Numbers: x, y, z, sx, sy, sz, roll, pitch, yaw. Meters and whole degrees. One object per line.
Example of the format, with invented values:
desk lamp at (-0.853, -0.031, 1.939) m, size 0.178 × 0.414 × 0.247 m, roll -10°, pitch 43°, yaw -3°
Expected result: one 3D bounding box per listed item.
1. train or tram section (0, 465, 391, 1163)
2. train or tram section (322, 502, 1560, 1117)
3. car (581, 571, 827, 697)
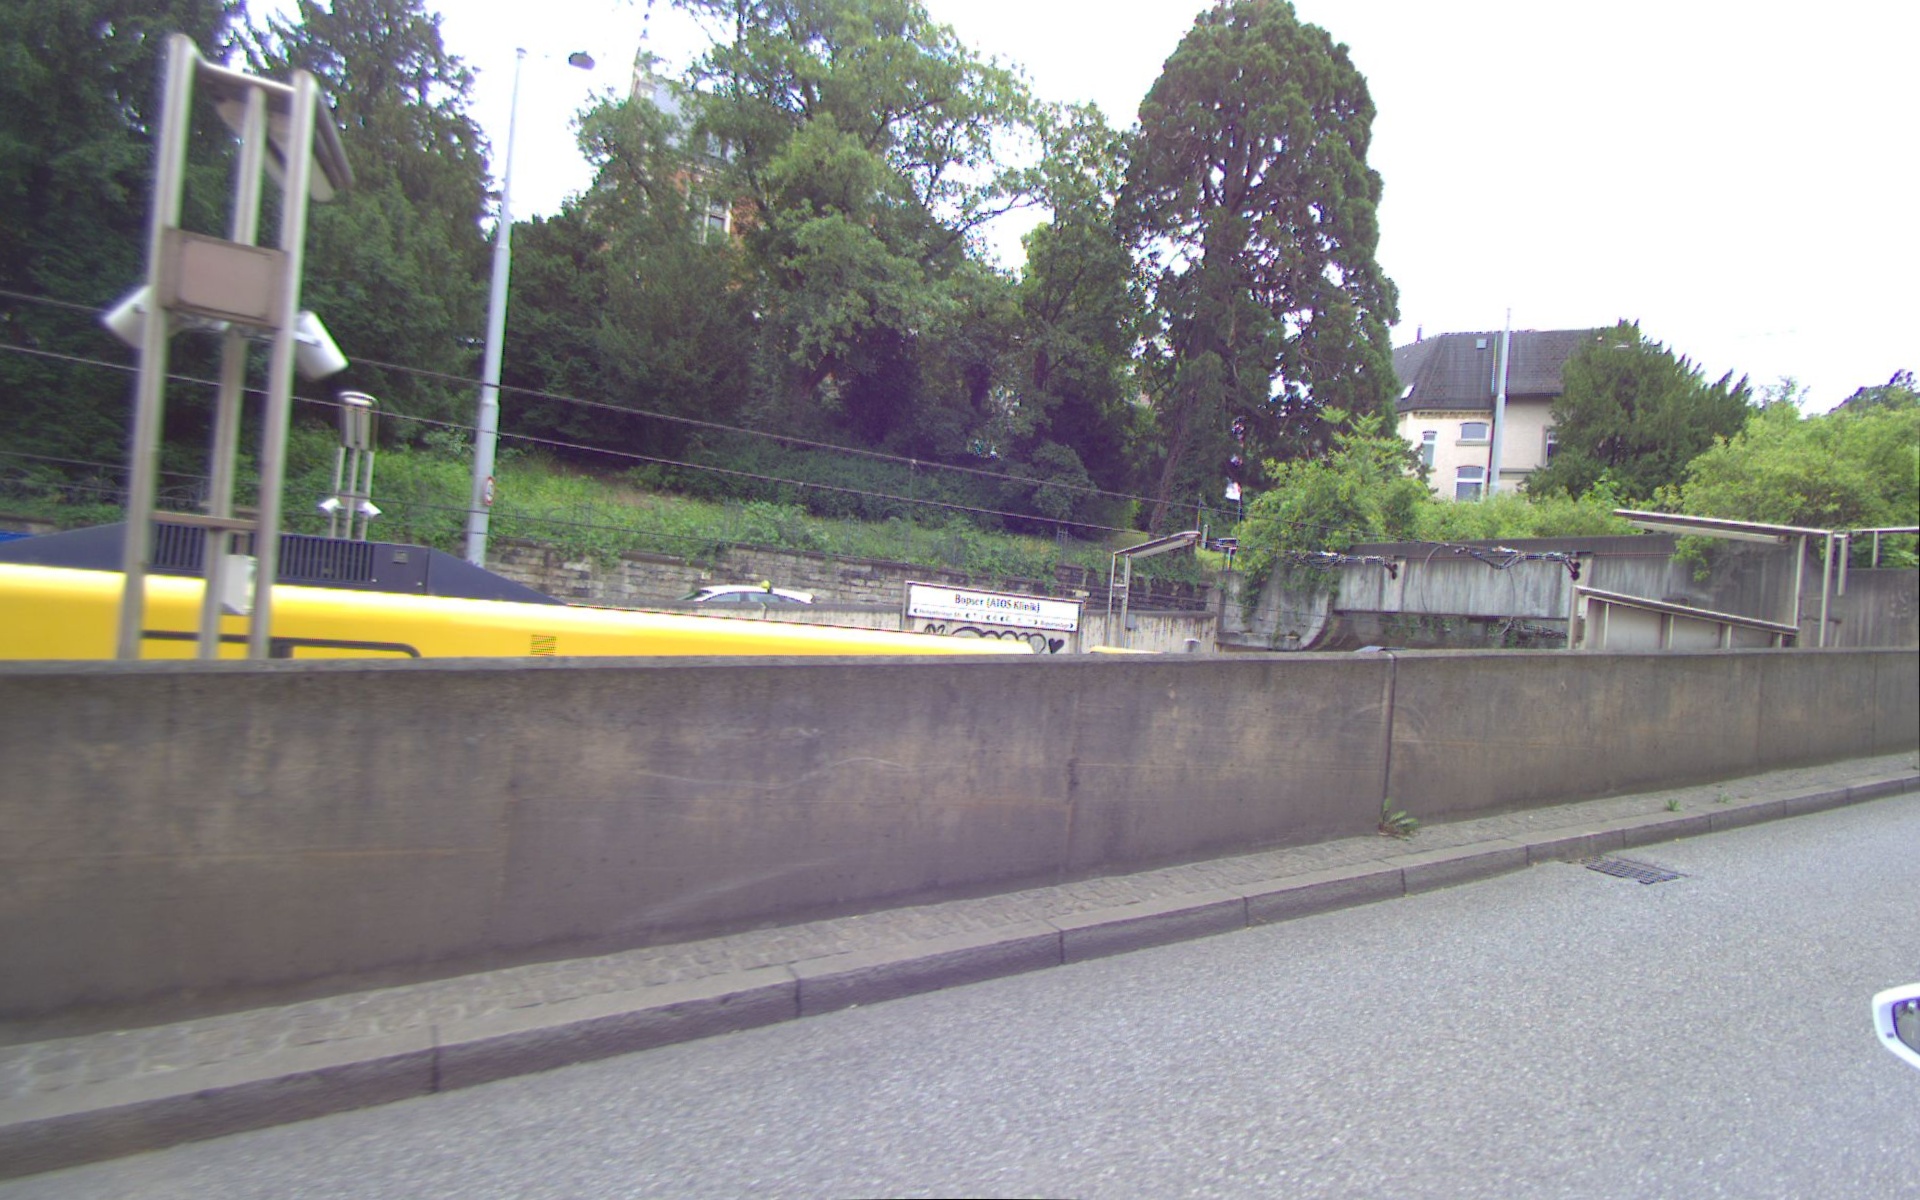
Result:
train or tram section at (-9.358, 0.803, 4.096) m, size 12.080 × 3.529 × 2.935 m, roll 4°, pitch -1°, yaw -31°
train or tram section at (1.148, 1.512, 10.407) m, size 12.839 × 3.555 × 2.934 m, roll 3°, pitch -1°, yaw -31°
car at (-4.736, 0.618, 18.654) m, size 3.956 × 2.040 × 1.982 m, roll 2°, pitch 2°, yaw -32°
